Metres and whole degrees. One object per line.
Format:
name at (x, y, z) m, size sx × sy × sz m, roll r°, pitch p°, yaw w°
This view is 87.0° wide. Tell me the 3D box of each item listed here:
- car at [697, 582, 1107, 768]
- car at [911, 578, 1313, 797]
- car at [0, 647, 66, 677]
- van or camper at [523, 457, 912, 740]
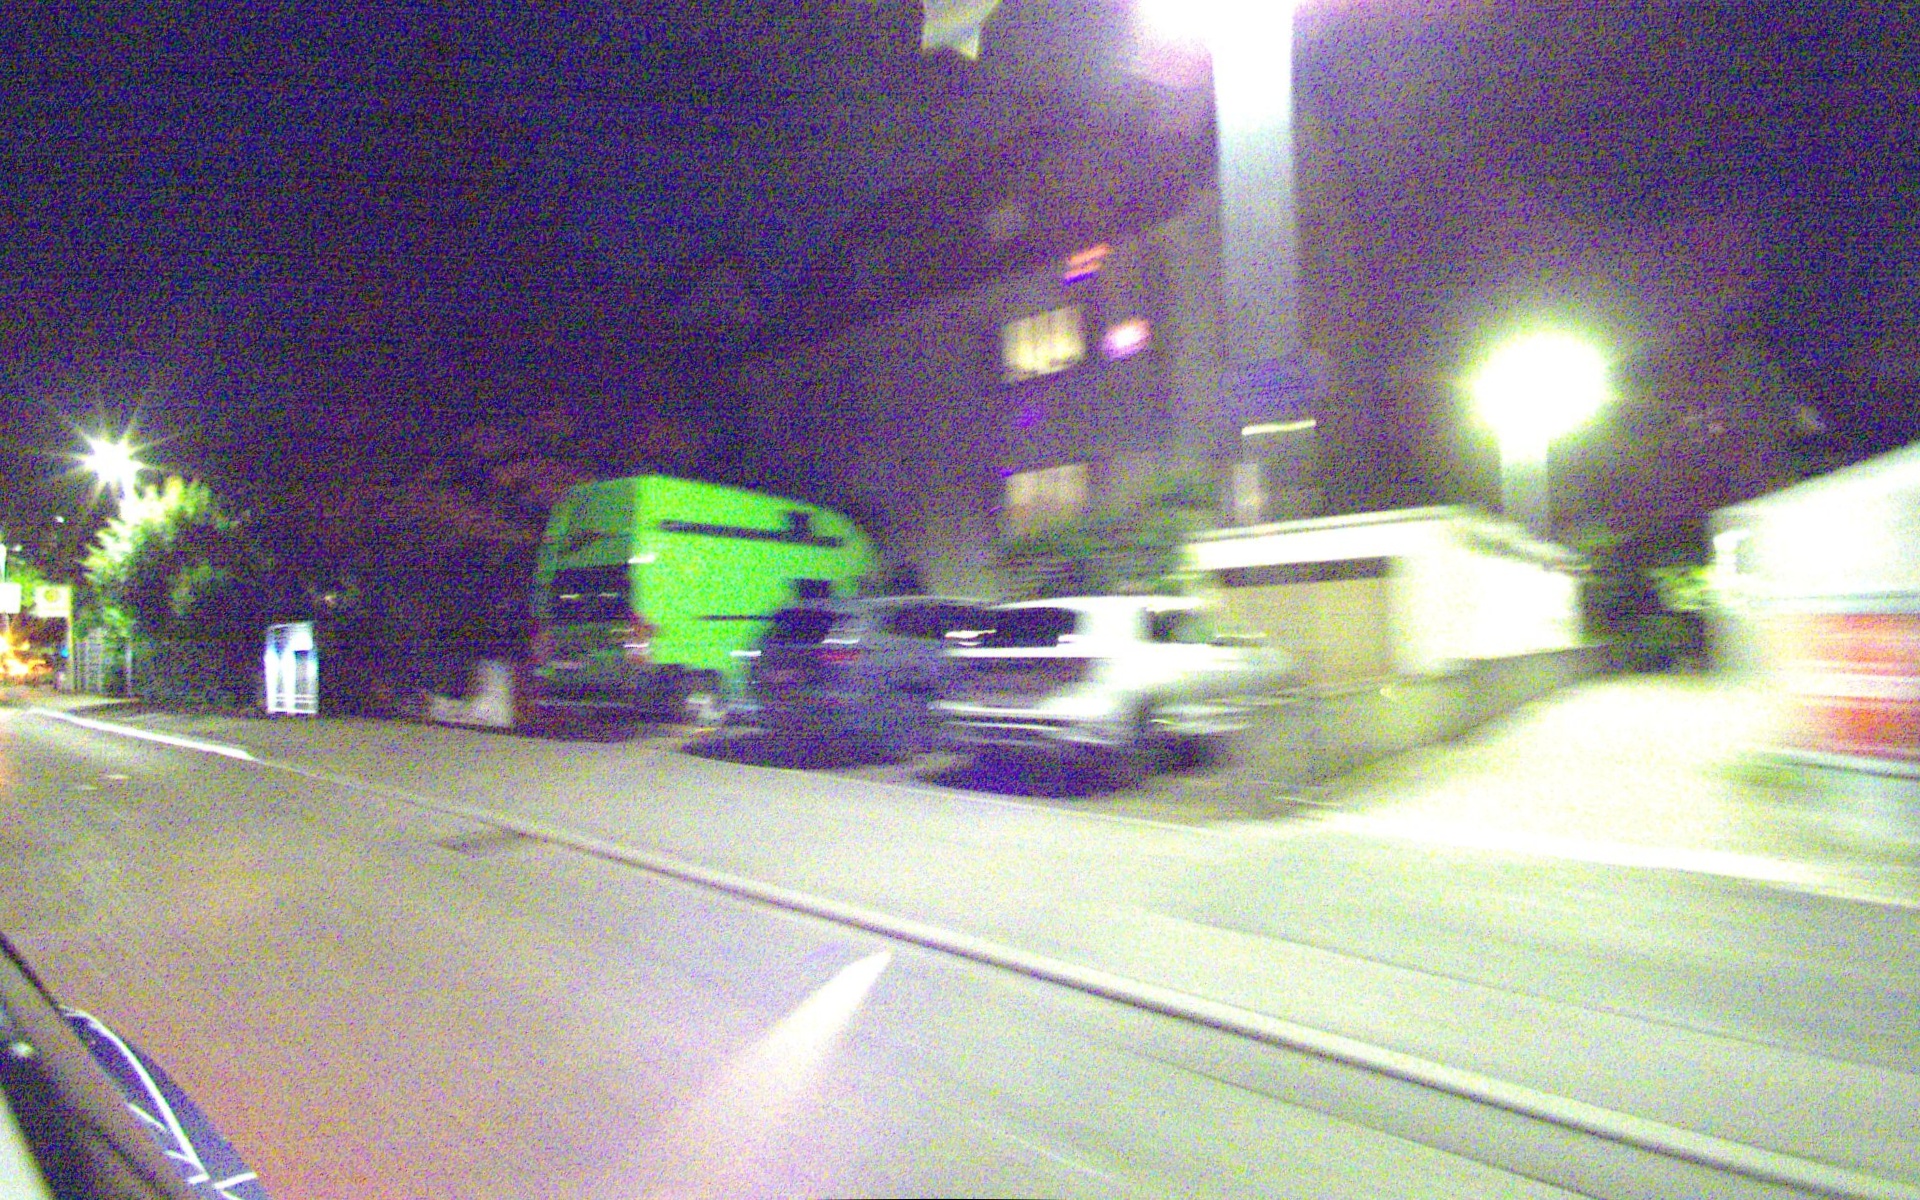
car at (-0.452, 0.685, 11.169) m, size 2.064 × 1.625 × 4.370 m, roll -1°, pitch -1°, yaw 42°
car at (1.554, 0.666, 9.313) m, size 1.926 × 1.567 × 3.772 m, roll -4°, pitch -2°, yaw 40°
car at (-54.321, 3.581, 58.711) m, size 1.703 × 1.440 × 4.300 m, roll -2°, pitch 0°, yaw -12°
van or camper at (-3.047, -0.057, 14.076) m, size 2.125 × 3.134 × 5.359 m, roll 1°, pitch 1°, yaw 31°
